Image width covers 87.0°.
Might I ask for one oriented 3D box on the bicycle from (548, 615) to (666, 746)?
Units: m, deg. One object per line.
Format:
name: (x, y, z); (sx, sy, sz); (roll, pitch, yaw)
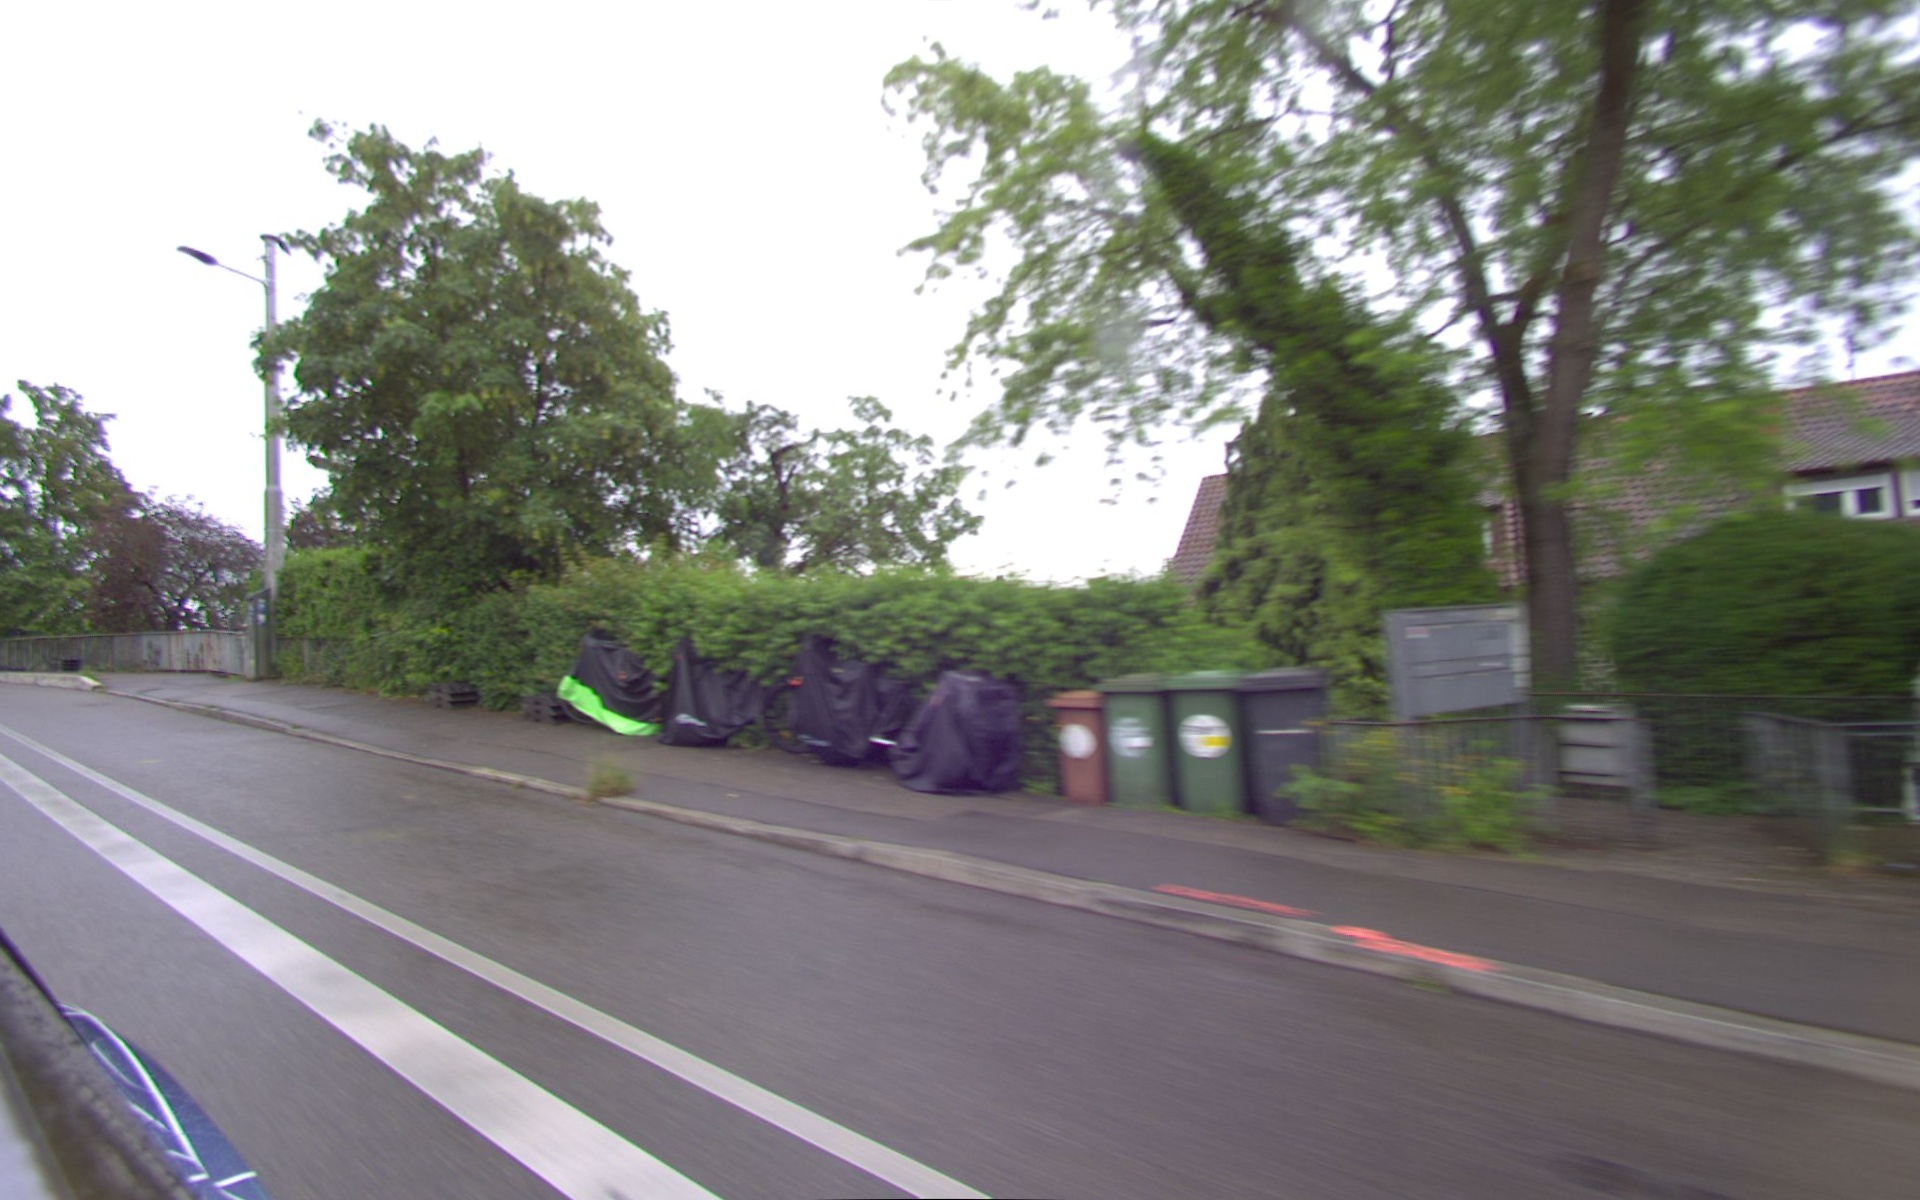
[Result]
bicycle: (-3.942, 0.848, 11.245); (1.741, 1.359, 0.416); (-1, -1, 40)

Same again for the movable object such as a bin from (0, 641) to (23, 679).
movable object such as a bin: (-30.166, 1.879, 31.605); (1.020, 1.115, 0.982); (-5, -5, 20)

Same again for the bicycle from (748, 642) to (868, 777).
bicycle: (-1.383, 0.951, 9.116); (1.255, 1.116, 0.334); (-1, -1, 40)
